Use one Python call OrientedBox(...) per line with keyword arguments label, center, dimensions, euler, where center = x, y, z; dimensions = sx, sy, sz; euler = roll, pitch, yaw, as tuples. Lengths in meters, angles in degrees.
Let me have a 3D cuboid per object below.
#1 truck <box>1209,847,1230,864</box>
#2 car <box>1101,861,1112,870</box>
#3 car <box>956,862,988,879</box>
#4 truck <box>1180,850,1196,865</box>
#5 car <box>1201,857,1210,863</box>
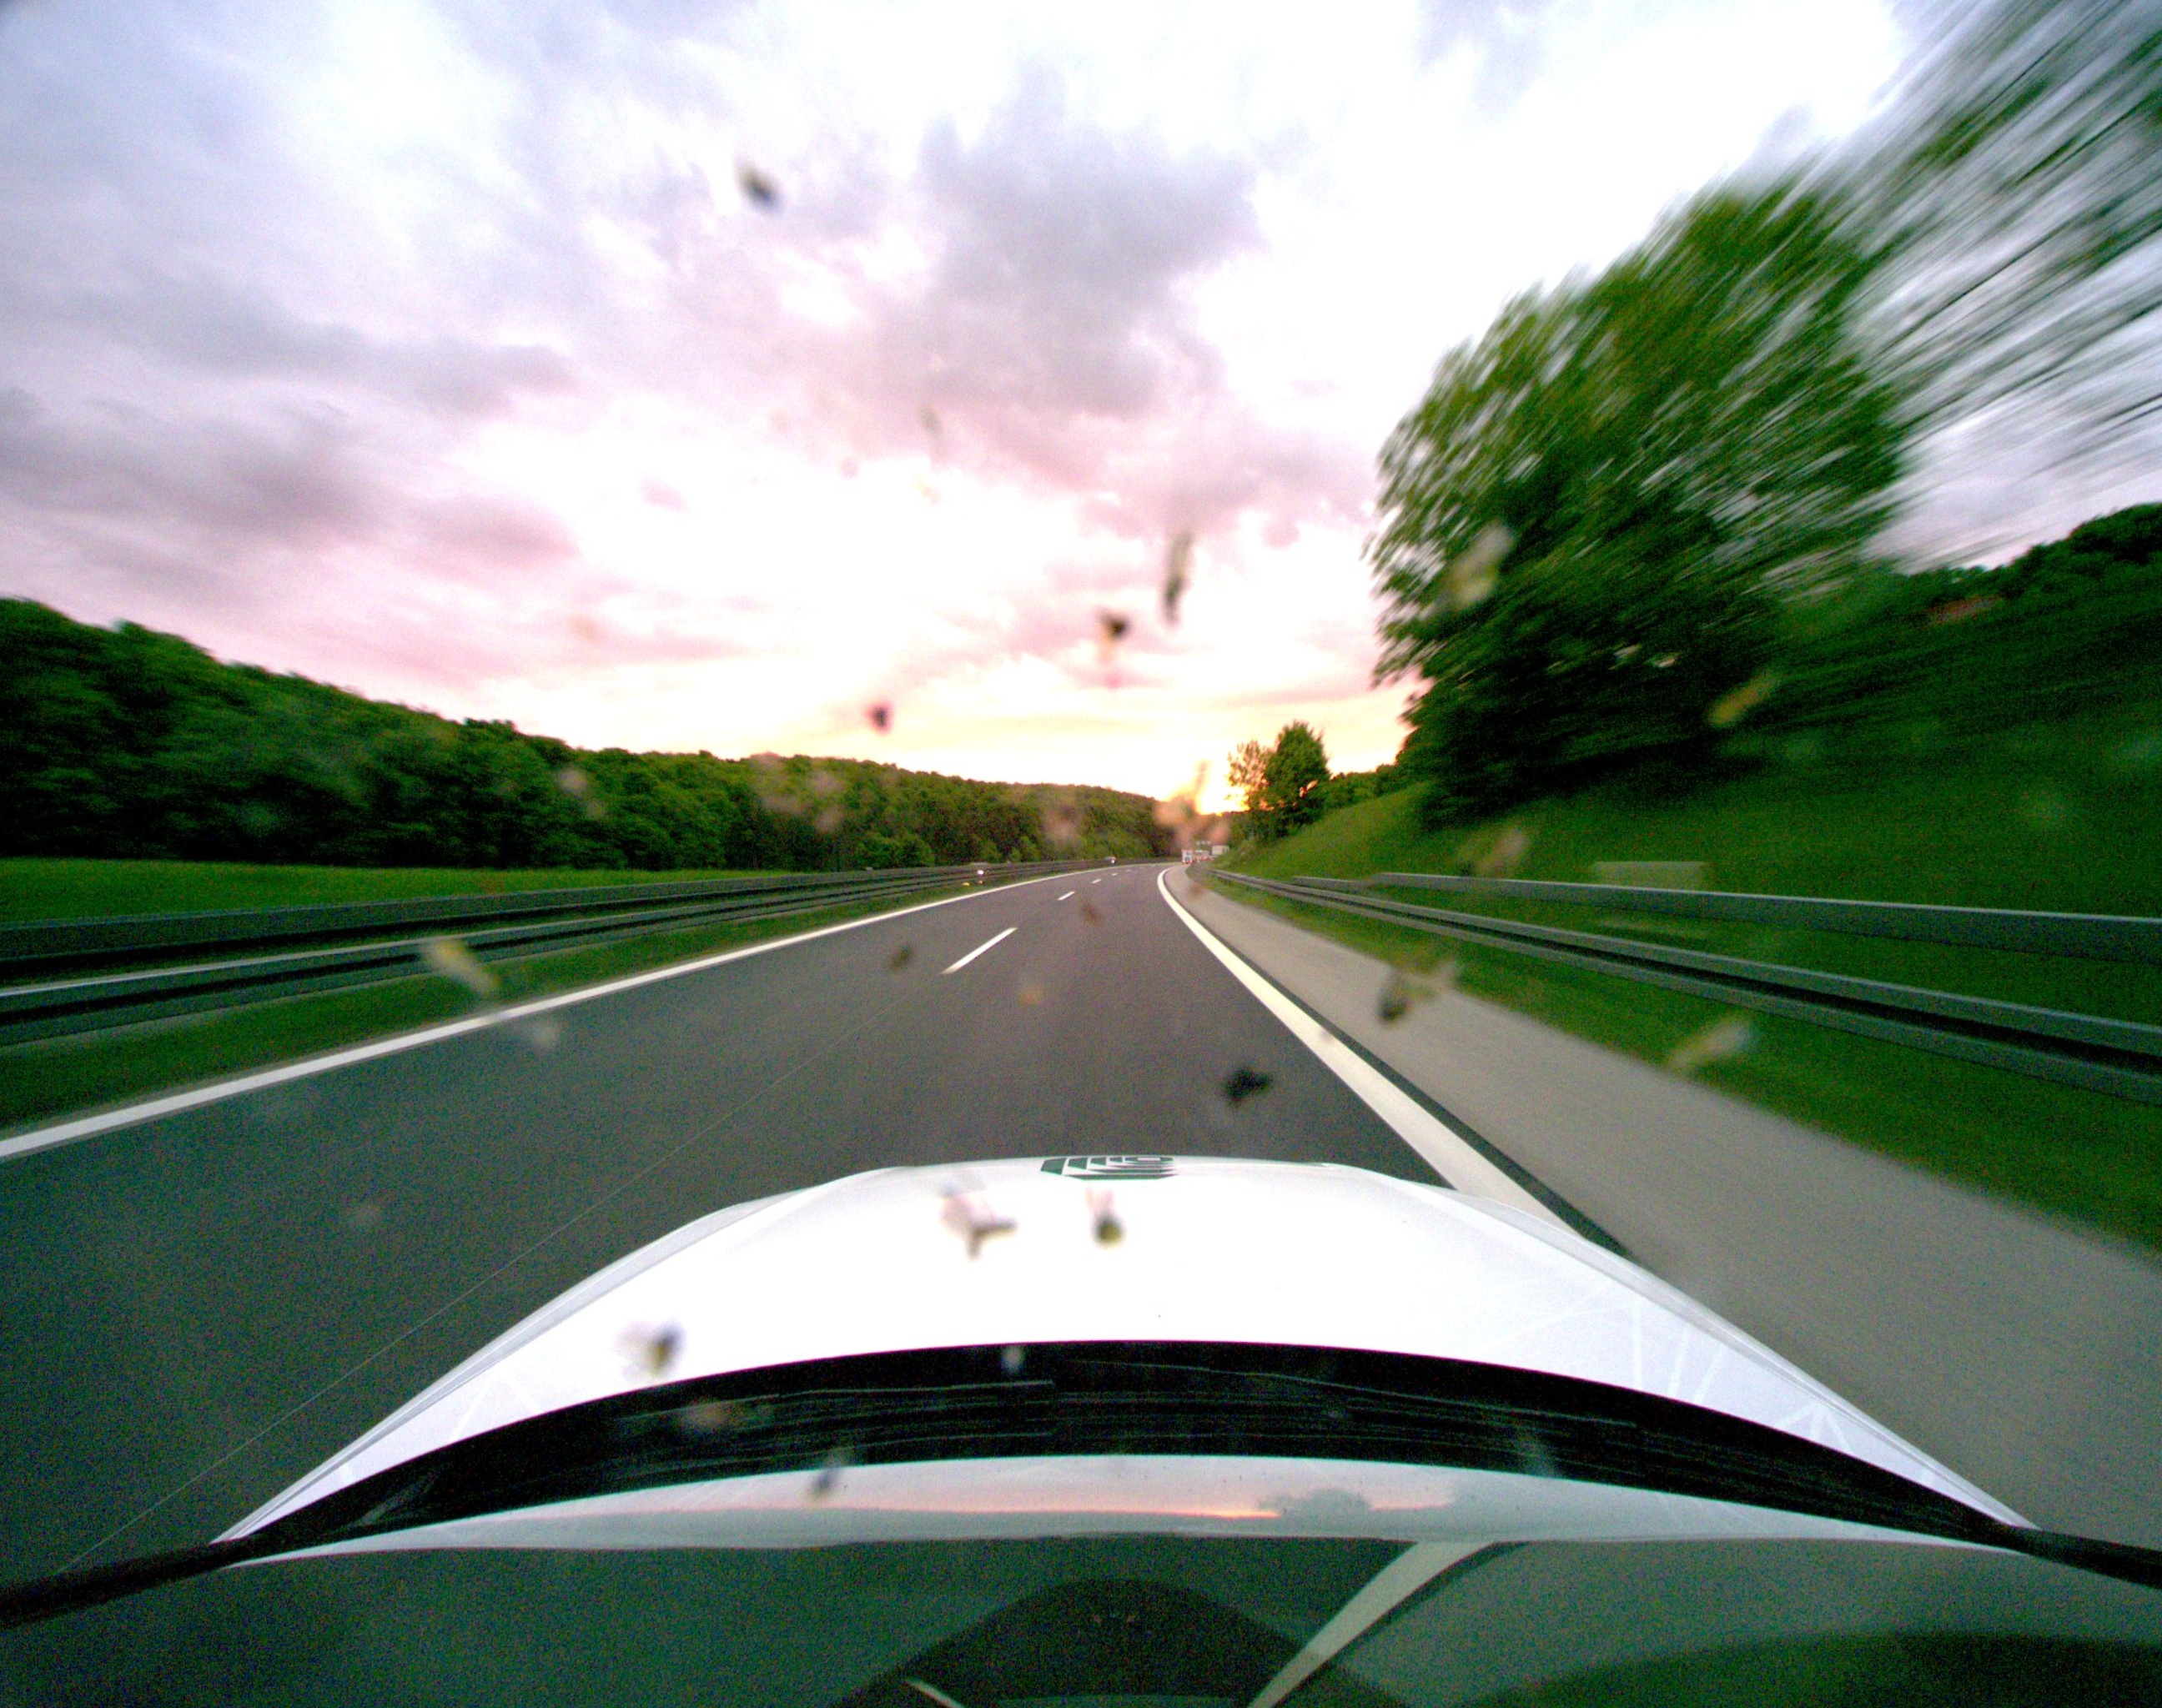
OrientedBox(label="truck", center=(36.854, 0.393, 216.222), dimensions=(3.929, 4.287, 14.380), euler=(-2, 0, 15))
OrientedBox(label="car", center=(5.003, 2.217, 160.452), dimensions=(1.743, 1.640, 4.487), euler=(-2, 0, 7))
OrientedBox(label="car", center=(-9.944, 1.514, 74.439), dimensions=(1.788, 1.442, 4.687), euler=(-2, 0, 6))
OrientedBox(label="truck", center=(20.742, 0.602, 157.534), dimensions=(2.260, 2.664, 5.256), euler=(-3, 1, 13))
OrientedBox(label="car", center=(32.794, 1.519, 214.960), dimensions=(1.979, 1.517, 4.015), euler=(-2, 0, 14))
